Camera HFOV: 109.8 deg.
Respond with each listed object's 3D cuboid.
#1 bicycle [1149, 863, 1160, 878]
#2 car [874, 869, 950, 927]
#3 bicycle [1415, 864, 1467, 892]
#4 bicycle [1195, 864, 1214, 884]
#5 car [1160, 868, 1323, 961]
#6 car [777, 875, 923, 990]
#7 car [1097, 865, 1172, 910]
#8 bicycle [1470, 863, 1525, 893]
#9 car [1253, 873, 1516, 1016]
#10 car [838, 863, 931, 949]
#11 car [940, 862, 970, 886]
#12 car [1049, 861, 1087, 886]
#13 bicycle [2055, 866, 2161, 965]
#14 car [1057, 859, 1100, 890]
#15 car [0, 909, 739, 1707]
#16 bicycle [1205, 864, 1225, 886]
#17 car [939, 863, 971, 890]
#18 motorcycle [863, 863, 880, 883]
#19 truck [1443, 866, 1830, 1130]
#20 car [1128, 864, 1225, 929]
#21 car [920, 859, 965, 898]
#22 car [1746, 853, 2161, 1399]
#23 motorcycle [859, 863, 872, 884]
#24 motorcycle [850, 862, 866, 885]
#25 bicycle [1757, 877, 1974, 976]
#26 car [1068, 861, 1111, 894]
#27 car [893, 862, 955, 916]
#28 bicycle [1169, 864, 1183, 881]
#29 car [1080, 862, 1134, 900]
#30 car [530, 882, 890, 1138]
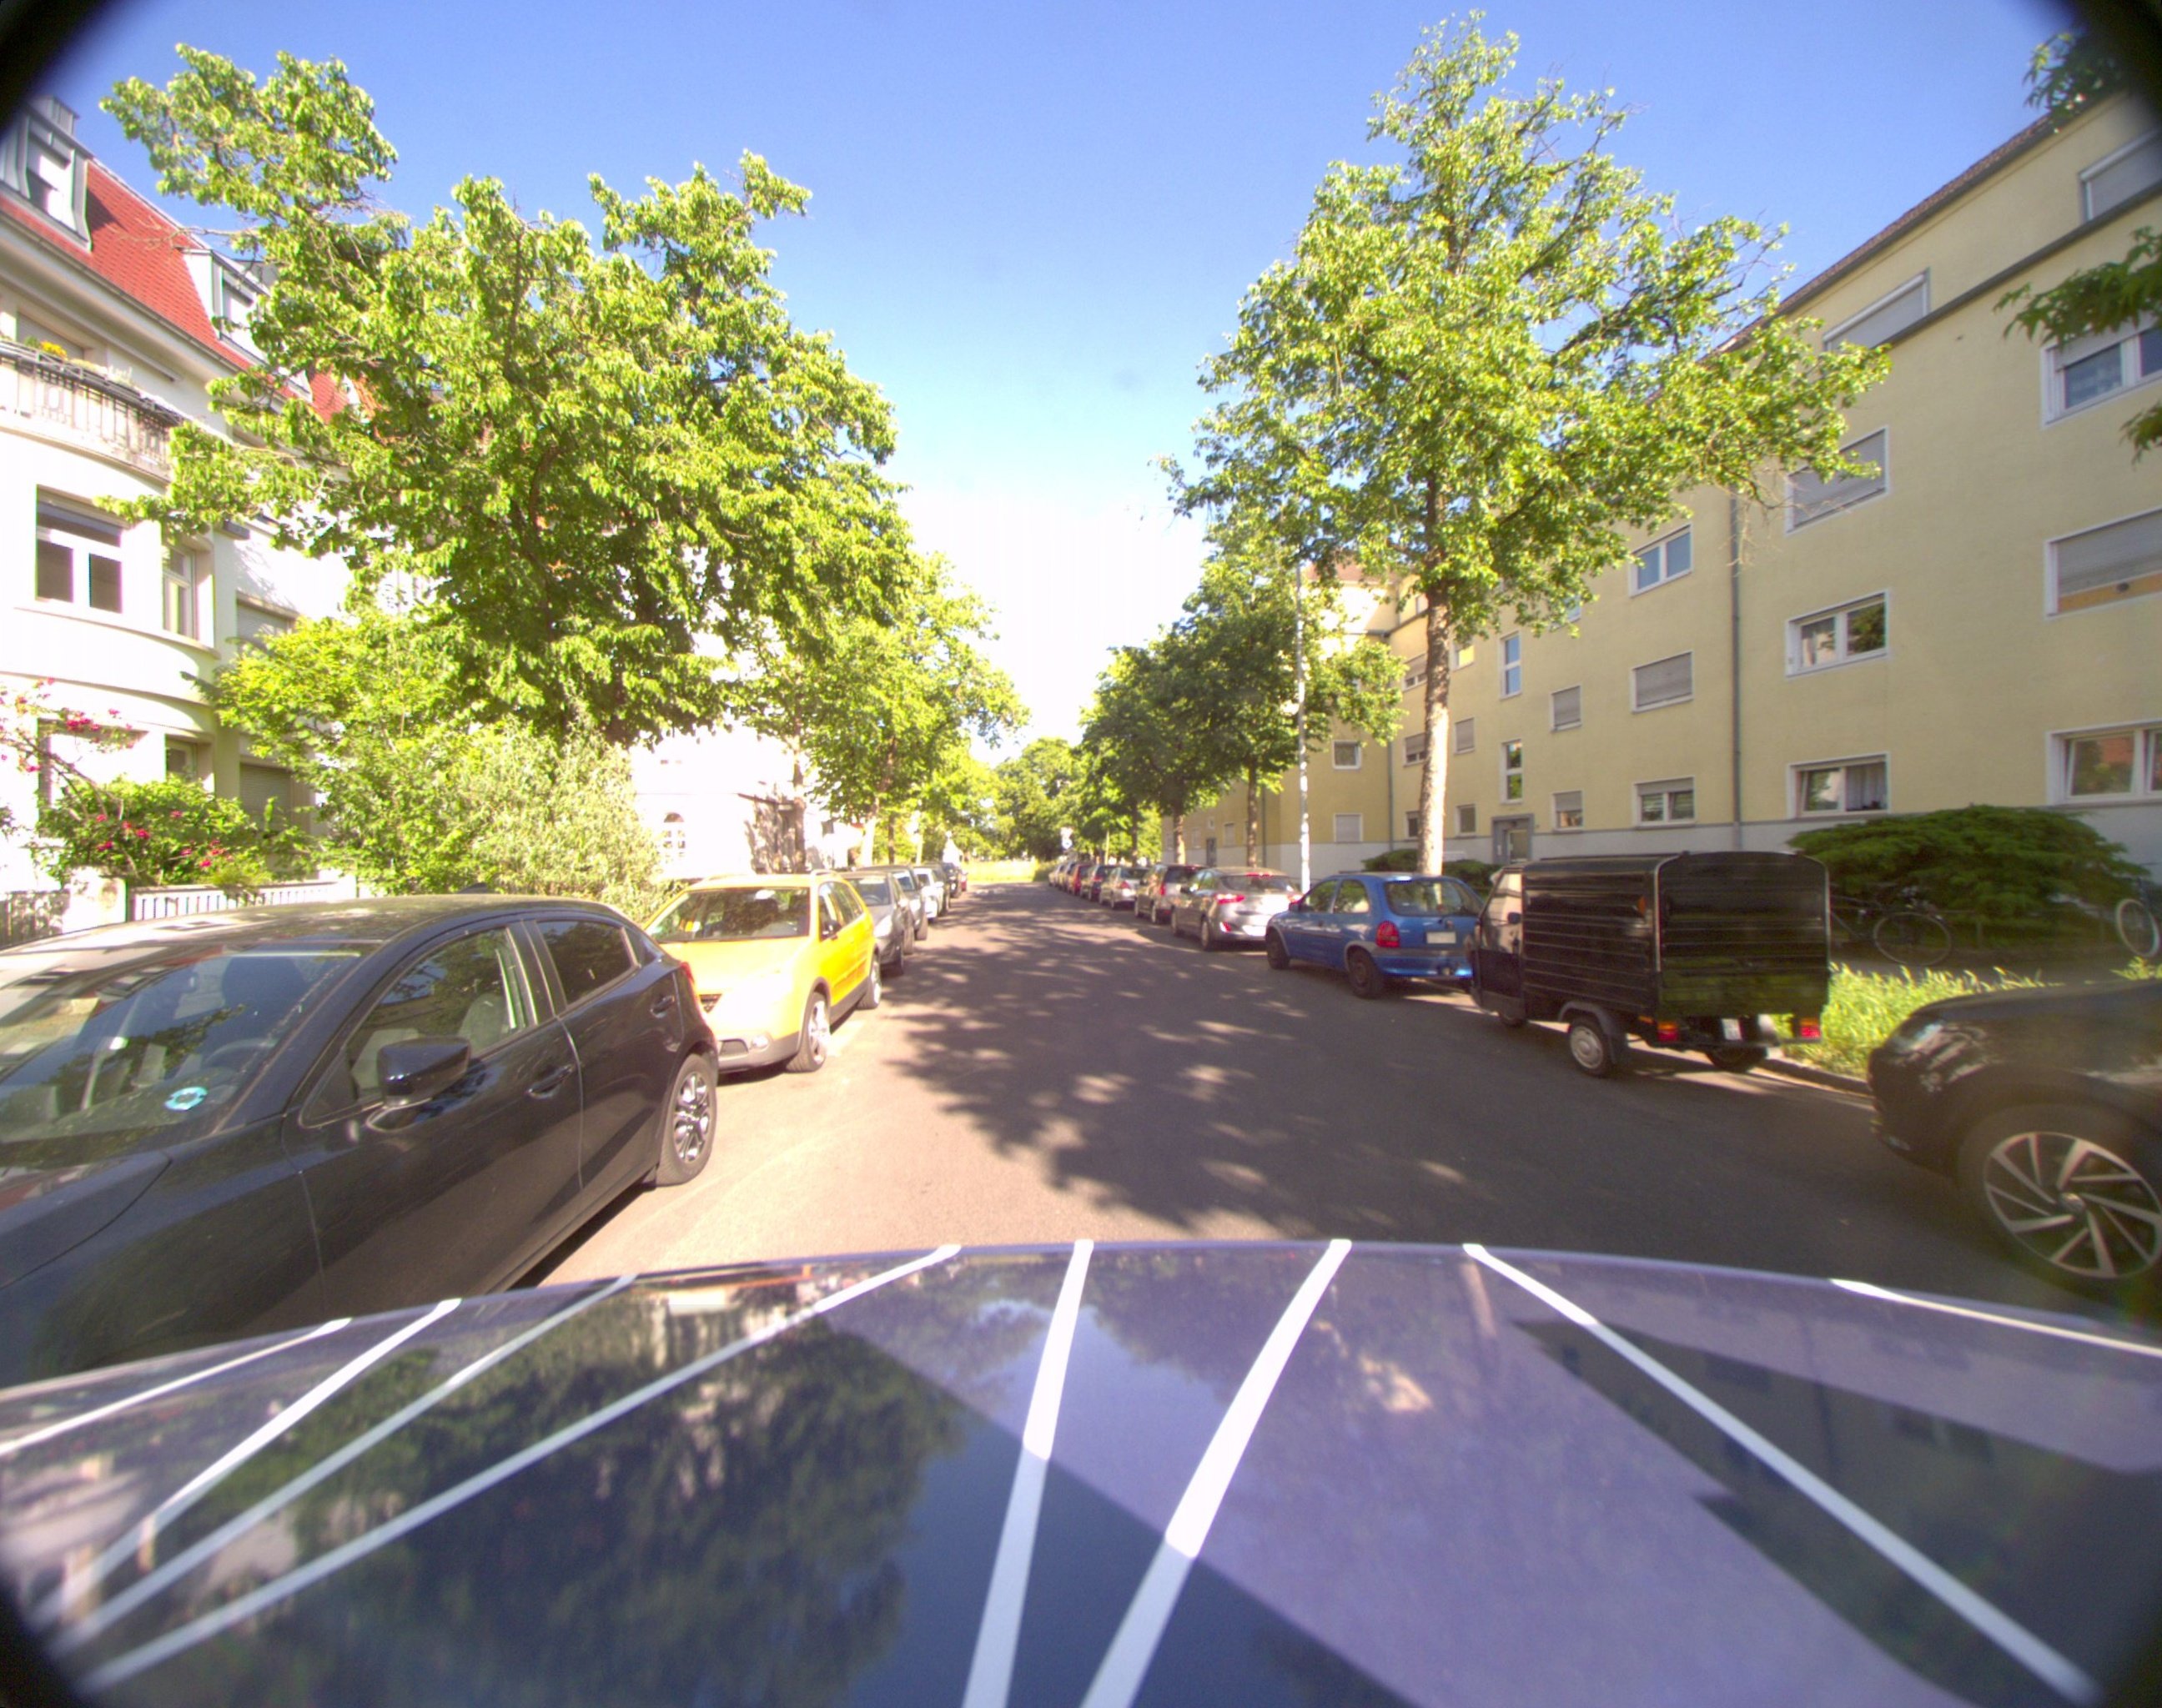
[{"bbox_3d":[5.020,1.152,51.990,0.476,0.995,1.544,-1,0,-6],"label":"bicycle"},{"bbox_3d":[-4.674,1.161,21.564,1.635,1.416,4.365,0,0,-6],"label":"car"},{"bbox_3d":[12.260,0.800,25.874,1.638,0.925,0.481,0,0,-9],"label":"bicycle"},{"bbox_3d":[6.572,1.074,40.437,0.542,1.021,1.747,-1,0,-5],"label":"bicycle"},{"bbox_3d":[2.853,1.030,14.651,1.797,1.436,4.686,1,0,-5],"label":"car"},{"bbox_3d":[-3.433,1.087,11.884,1.654,1.420,3.610,0,0,-8],"label":"car"},{"bbox_3d":[1.742,1.096,26.145,1.751,1.360,4.671,0,0,-6],"label":"car"},{"bbox_3d":[13.108,0.748,23.910,1.638,0.925,0.480,0,0,-15],"label":"bicycle"},{"bbox_3d":[3.641,0.995,9.868,1.525,1.387,3.724,-1,0,-8],"label":"car"},{"bbox_3d":[-4.246,1.041,16.941,1.654,1.646,3.844,-1,0,-10],"label":"car"},{"bbox_3d":[-7.798,1.231,47.154,1.658,1.394,4.133,-1,0,-7],"label":"car"},{"bbox_3d":[-0.884,1.185,47.353,1.766,1.433,3.991,-1,0,-10],"label":"car"},{"bbox_3d":[12.971,0.720,9.199,1.844,1.075,0.486,-3,2,-3],"label":"bicycle"},{"bbox_3d":[-0.194,1.069,40.973,1.697,1.555,4.732,-1,0,-8],"label":"car"},{"bbox_3d":[-2.624,1.028,2.291,1.706,1.440,4.080,0,0,-6],"label":"car"},{"bbox_3d":[6.798,1.052,38.518,0.537,1.021,1.747,-1,0,-5],"label":"bicycle"},{"bbox_3d":[-7.049,1.225,42.374,1.617,1.401,4.347,-1,0,-10],"label":"car"},{"bbox_3d":[-13.881,1.242,50.356,0.974,1.321,1.851,-1,0,-12],"label":"motorcycle"},{"bbox_3d":[3.984,0.892,5.857,1.087,1.568,2.431,-1,0,-4],"label":"truck"},{"bbox_3d":[2.411,1.045,20.249,1.625,1.506,4.266,1,0,-6],"label":"car"},{"bbox_3d":[-6.388,1.081,35.306,1.786,1.688,4.295,0,0,-7],"label":"car"},{"bbox_3d":[4.390,0.851,1.245,1.855,1.670,4.973,2,-1,-7],"label":"car"},{"bbox_3d":[-13.751,1.249,48.489,0.659,1.272,1.798,1,0,-13],"label":"motorcycle"},{"bbox_3d":[-13.521,1.191,46.140,0.541,1.353,2.088,-1,0,-7],"label":"motorcycle"},{"bbox_3d":[9.852,0.865,9.632,0.487,1.075,1.841,-4,2,-30],"label":"bicycle"},{"bbox_3d":[0.343,1.085,36.423,1.670,1.477,3.254,-1,0,-6],"label":"car"},{"bbox_3d":[-5.306,1.135,26.114,1.689,1.578,4.532,-3,0,-8],"label":"car"},{"bbox_3d":[5.752,1.109,46.056,0.513,0.995,1.544,-1,0,-6],"label":"bicycle"},{"bbox_3d":[1.027,1.087,31.574,1.670,1.450,3.930,-1,0,-6],"label":"car"},{"bbox_3d":[-2.843,1.050,6.858,1.642,1.446,4.097,-1,0,-7],"label":"car"}]
